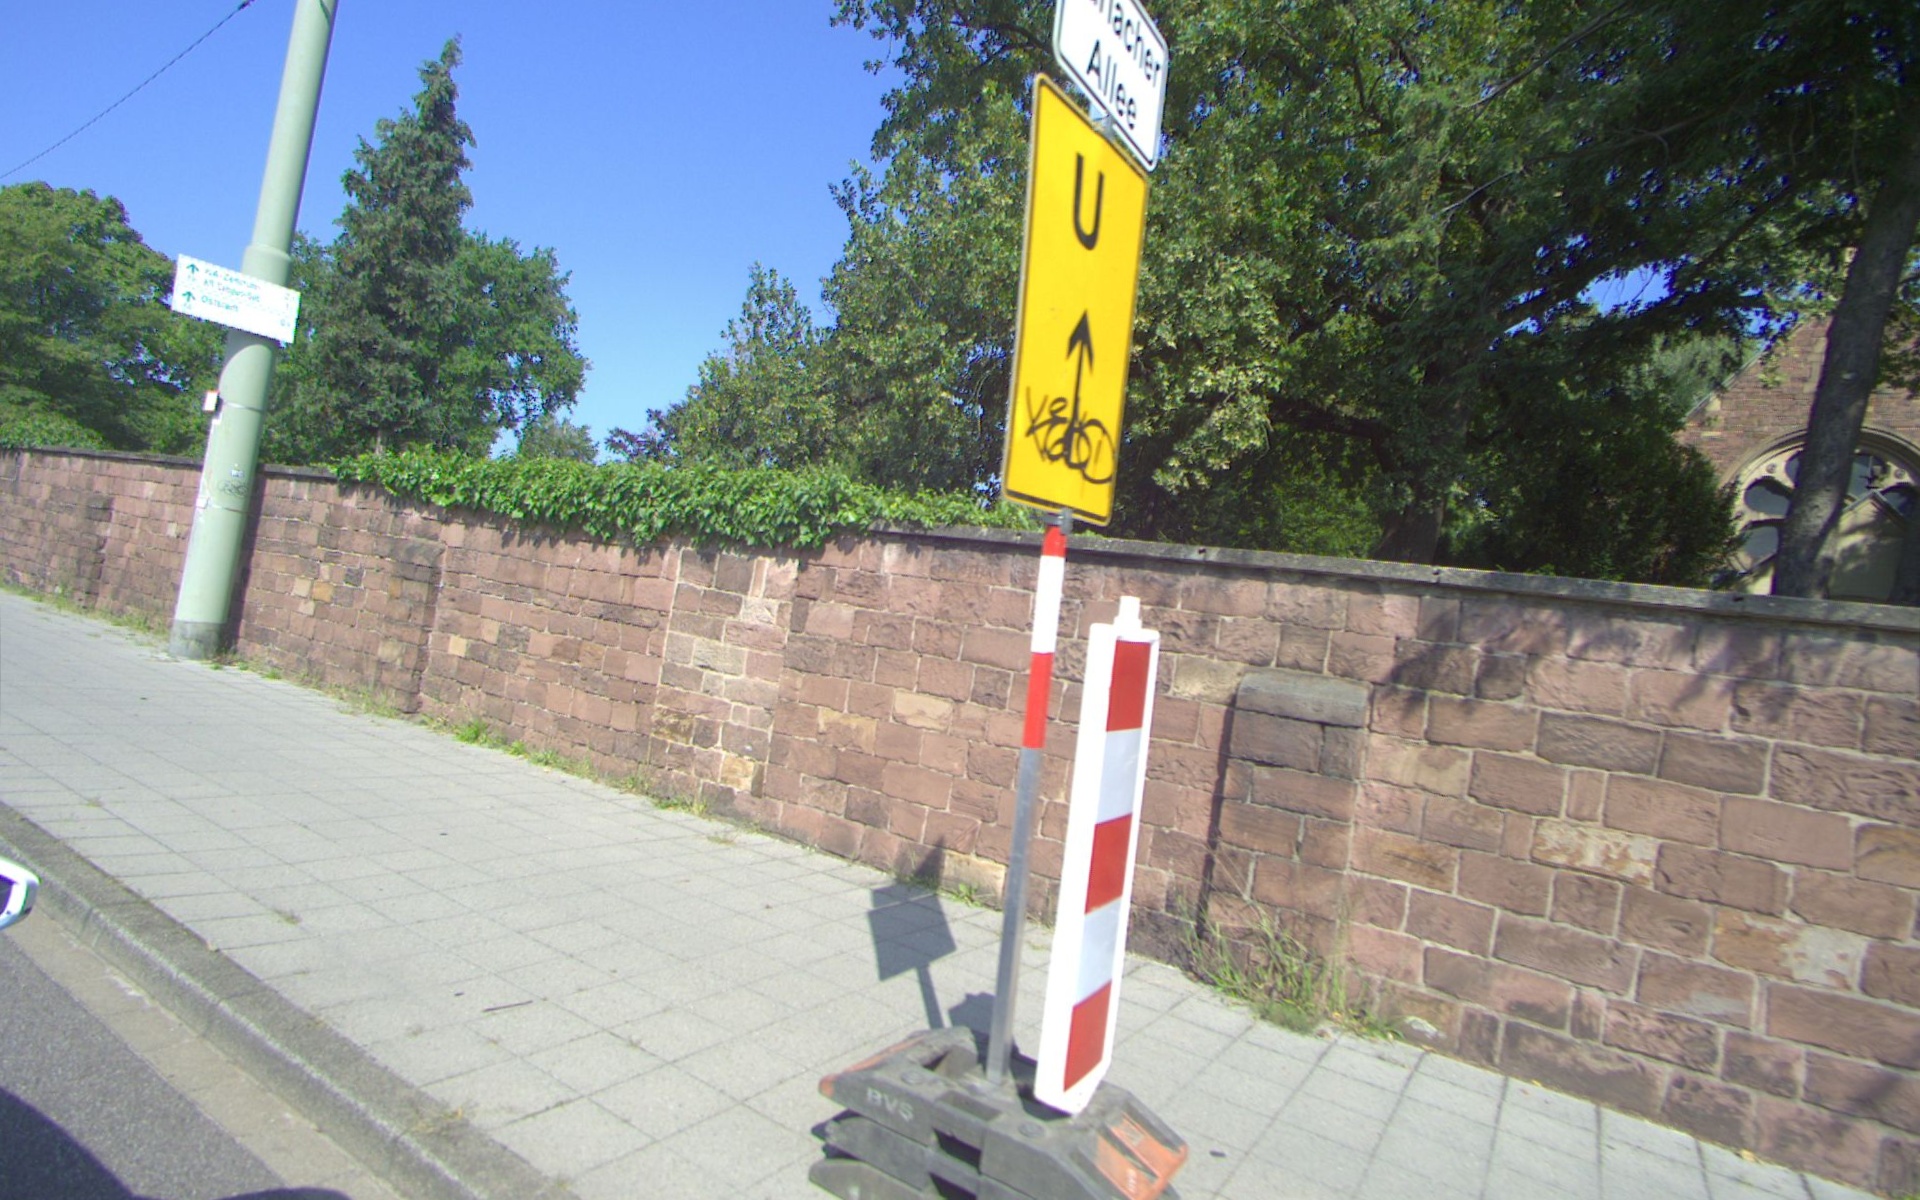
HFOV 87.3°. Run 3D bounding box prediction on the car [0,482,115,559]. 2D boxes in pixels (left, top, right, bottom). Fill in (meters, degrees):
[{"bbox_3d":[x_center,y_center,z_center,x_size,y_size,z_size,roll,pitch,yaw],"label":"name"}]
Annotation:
[{"bbox_3d":[-23.962,-2.191,25.048,1.748,1.479,3.979,9,-3,31],"label":"car"}]
